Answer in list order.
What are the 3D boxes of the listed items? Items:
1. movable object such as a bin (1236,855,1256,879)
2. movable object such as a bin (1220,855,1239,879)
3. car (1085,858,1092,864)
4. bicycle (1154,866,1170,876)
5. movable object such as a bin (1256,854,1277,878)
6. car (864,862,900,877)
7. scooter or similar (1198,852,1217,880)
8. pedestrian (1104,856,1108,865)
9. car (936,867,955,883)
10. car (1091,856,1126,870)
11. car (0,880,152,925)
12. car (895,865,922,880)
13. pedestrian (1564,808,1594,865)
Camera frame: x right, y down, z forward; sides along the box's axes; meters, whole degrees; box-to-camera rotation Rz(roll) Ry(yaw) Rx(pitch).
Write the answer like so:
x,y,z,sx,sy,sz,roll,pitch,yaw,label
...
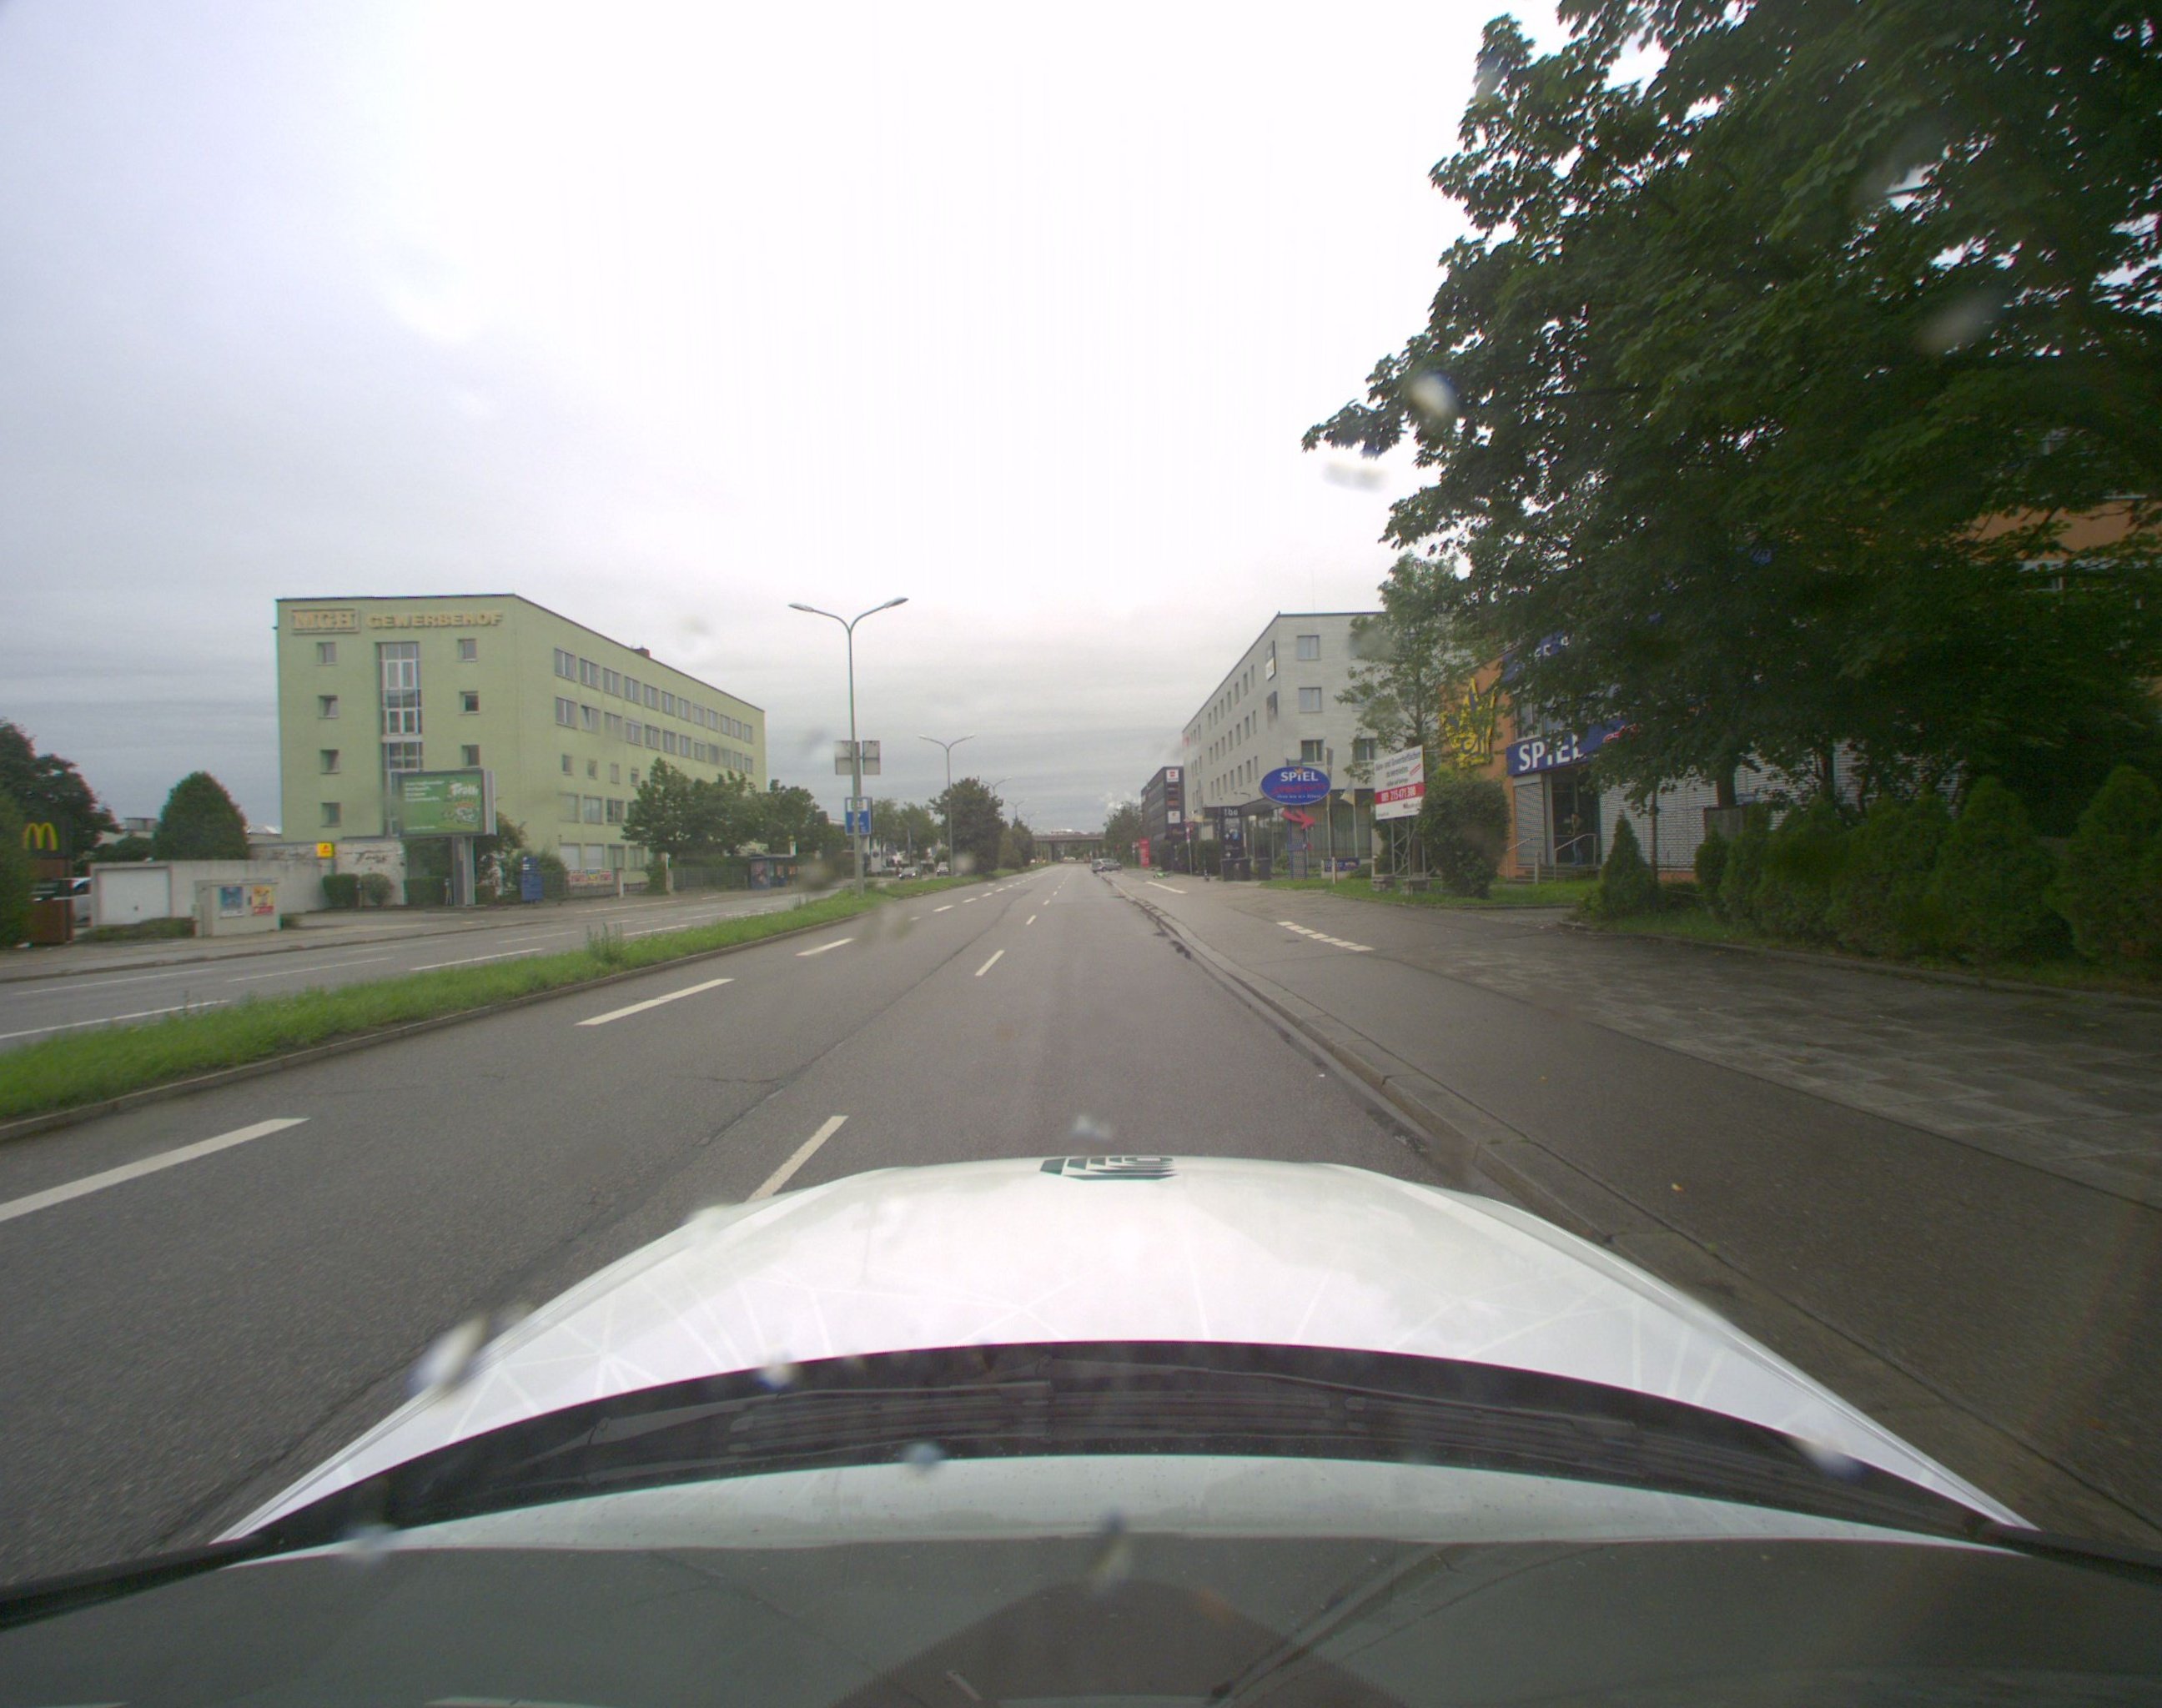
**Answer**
x,y,z,sx,sy,sz,roll,pitch,yaw,label
7.607,0.604,37.584,0.734,1.078,0.655,-3,0,0,movable object such as a bin
6.982,0.592,38.350,0.734,1.078,0.655,-3,0,0,movable object such as a bin
2.234,2.111,241.118,1.730,1.548,4.303,-1,0,-1,car
5.058,1.070,50.918,0.717,0.548,1.732,-6,0,0,bicycle
8.590,0.542,37.746,0.734,1.078,0.655,-3,0,0,movable object such as a bin
-28.412,2.220,116.390,4.653,1.842,1.787,-3,0,-24,car
6.274,0.597,40.381,0.584,1.277,1.403,-7,0,0,scooter or similar
5.487,1.390,178.480,0.687,1.876,0.662,-3,0,-1,pedestrian
-18.945,2.888,114.098,1.988,1.960,4.322,-3,0,-1,car
3.260,1.078,96.026,4.049,1.557,1.798,-1,0,-43,car
-38.691,1.827,31.085,1.819,1.438,3.999,-3,0,0,car
-18.758,1.983,88.761,1.988,1.401,4.652,-3,0,-1,car
15.452,-0.533,25.279,0.652,1.712,0.667,-4,-1,36,pedestrian
